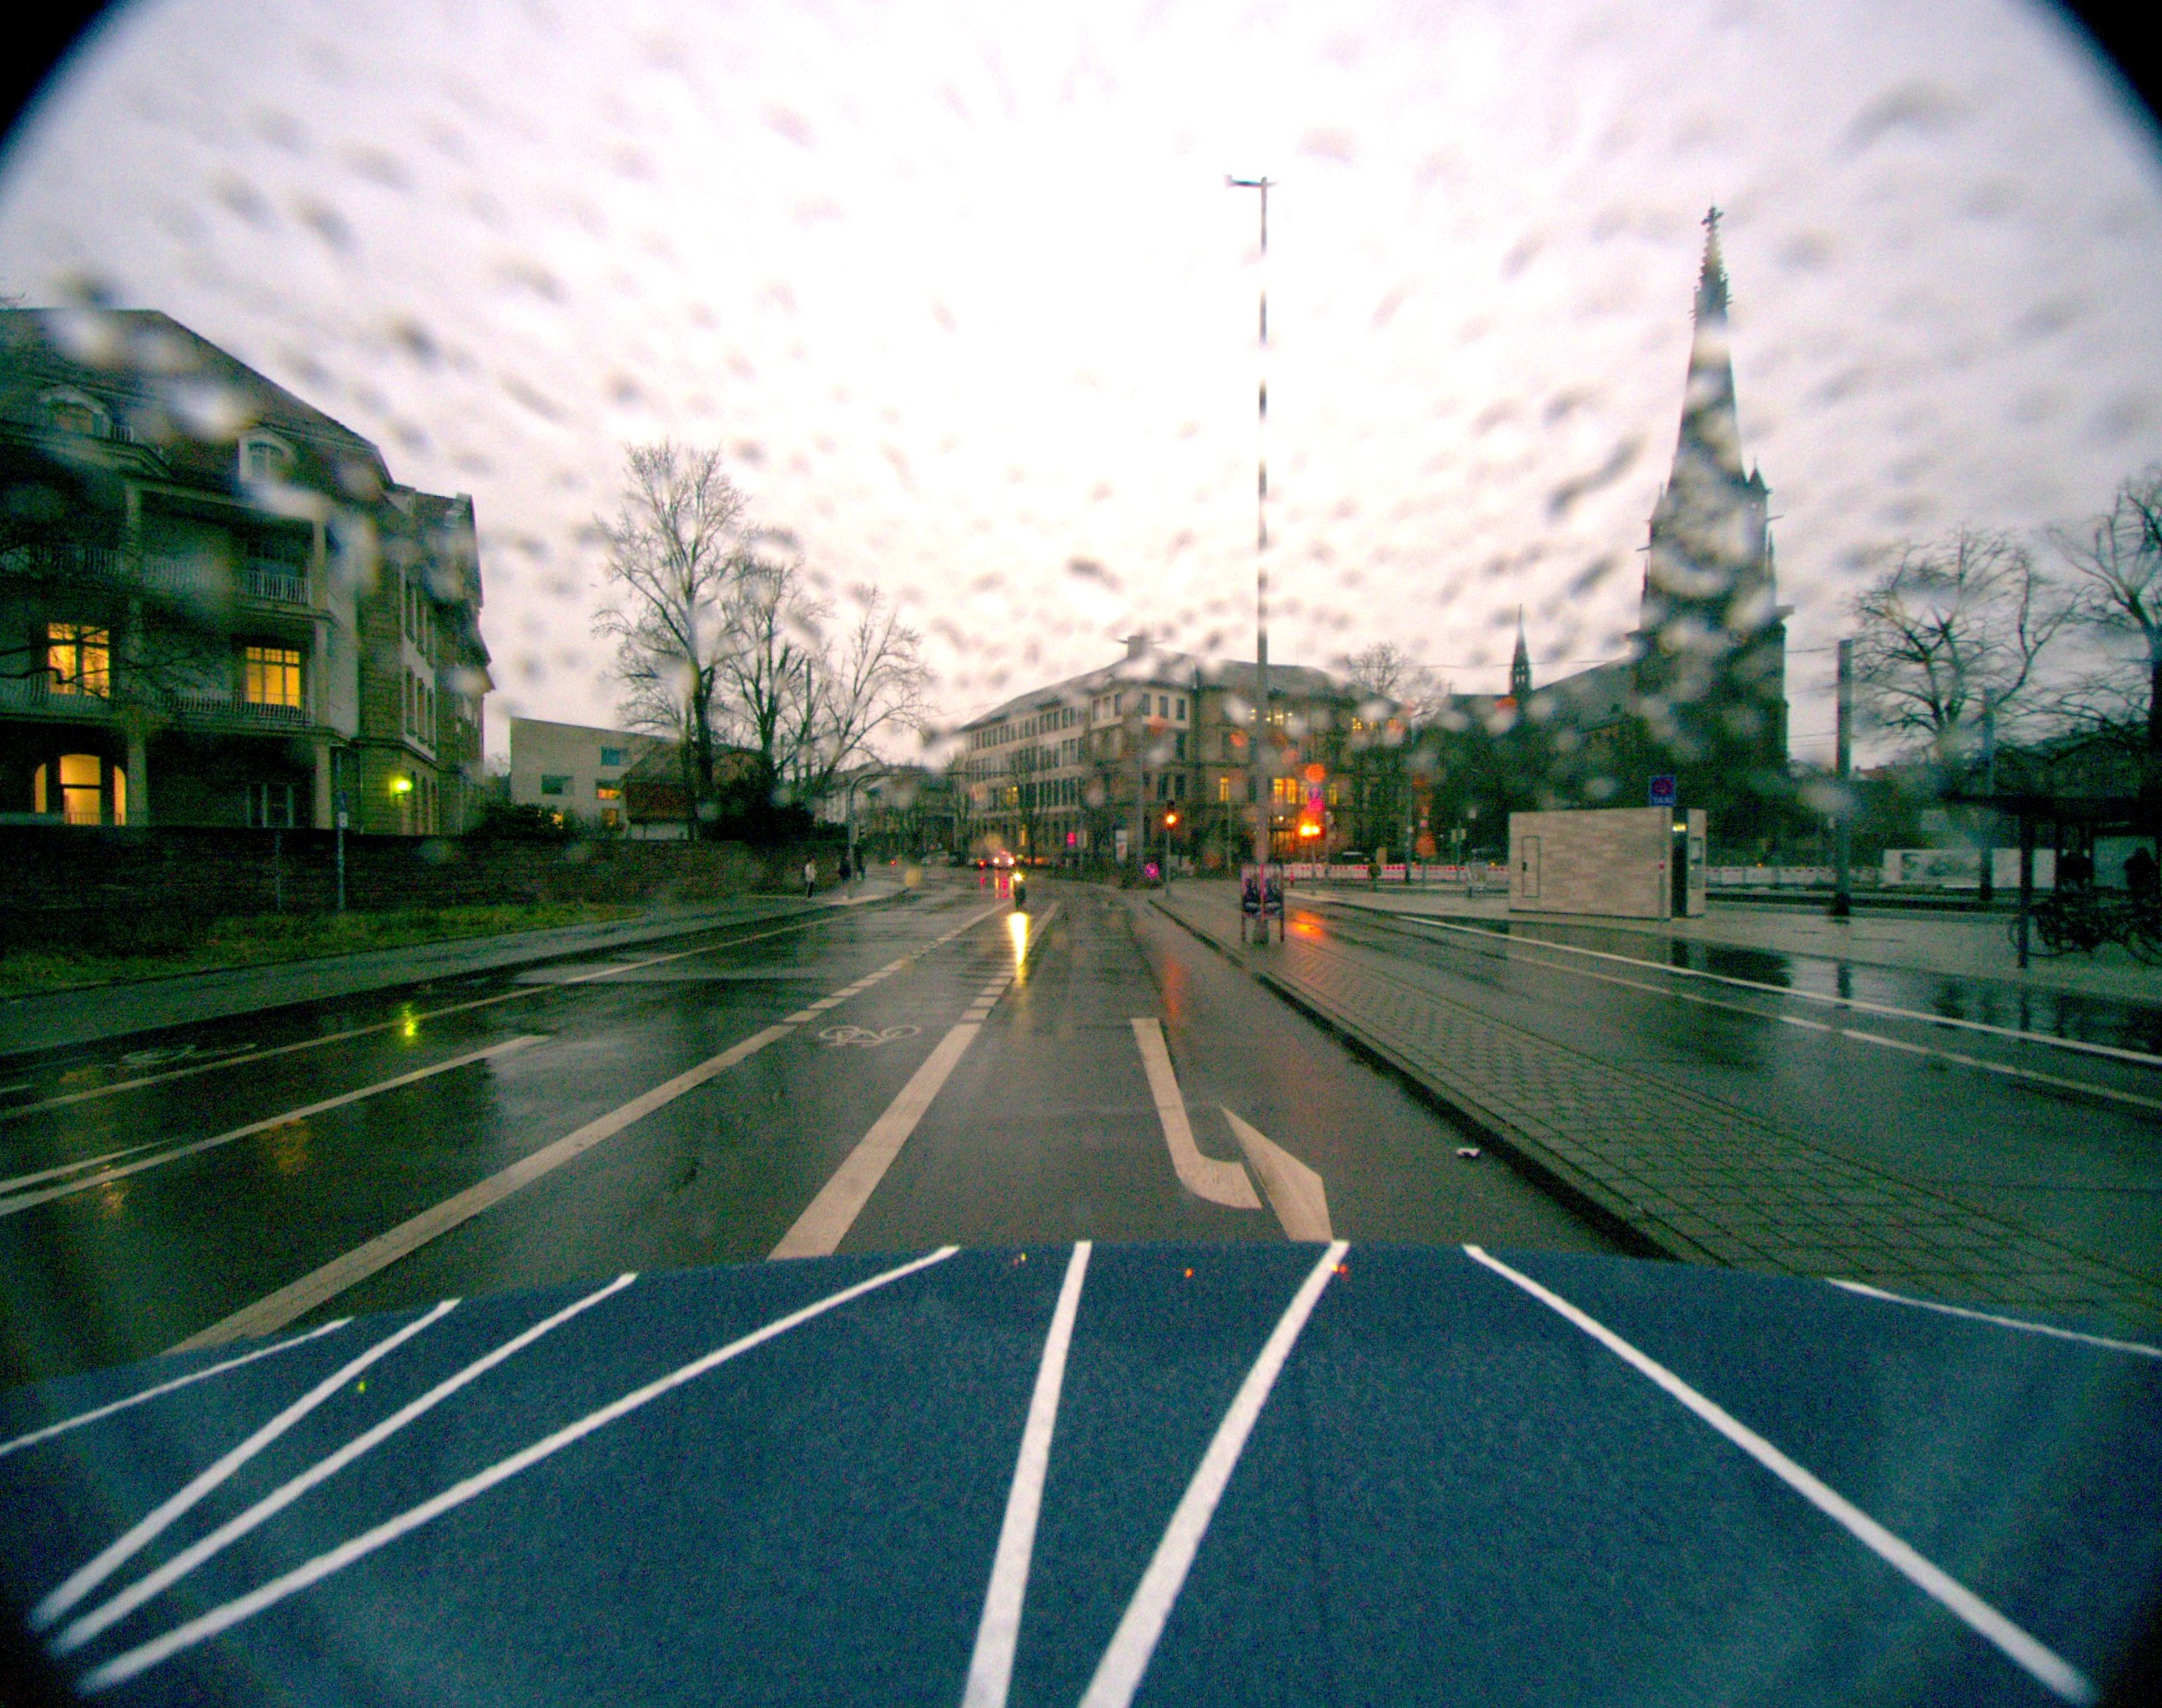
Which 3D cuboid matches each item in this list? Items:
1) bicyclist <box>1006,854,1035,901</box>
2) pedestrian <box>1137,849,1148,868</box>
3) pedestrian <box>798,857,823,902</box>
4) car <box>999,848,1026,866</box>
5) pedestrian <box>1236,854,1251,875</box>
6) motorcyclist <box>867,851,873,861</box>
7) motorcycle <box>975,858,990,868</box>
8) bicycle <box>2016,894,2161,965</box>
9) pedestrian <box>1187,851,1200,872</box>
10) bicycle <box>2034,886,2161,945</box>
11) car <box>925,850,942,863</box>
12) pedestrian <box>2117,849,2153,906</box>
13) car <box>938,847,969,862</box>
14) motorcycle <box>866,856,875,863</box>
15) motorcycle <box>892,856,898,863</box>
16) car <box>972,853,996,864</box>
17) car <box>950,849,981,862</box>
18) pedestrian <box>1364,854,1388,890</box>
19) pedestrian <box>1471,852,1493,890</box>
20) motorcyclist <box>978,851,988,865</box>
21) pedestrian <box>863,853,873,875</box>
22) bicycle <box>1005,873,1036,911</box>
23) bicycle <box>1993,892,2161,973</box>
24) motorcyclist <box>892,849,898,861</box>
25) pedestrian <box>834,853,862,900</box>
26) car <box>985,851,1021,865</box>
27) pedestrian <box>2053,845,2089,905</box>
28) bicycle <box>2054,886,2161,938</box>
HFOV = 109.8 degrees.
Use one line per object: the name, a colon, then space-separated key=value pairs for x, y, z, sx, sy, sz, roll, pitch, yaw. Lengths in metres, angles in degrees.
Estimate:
bicyclist: x=-1.945 y=0.759 z=24.614 sx=0.785 sy=1.444 sz=1.134 roll=-2 pitch=1 yaw=1
pedestrian: x=5.935 y=0.447 z=73.021 sx=0.675 sy=1.806 sz=0.896 roll=0 pitch=1 yaw=-28
pedestrian: x=-10.576 y=0.985 z=29.750 sx=0.799 sy=1.713 sz=0.673 roll=1 pitch=1 yaw=-10
car: x=-7.547 y=0.344 z=83.731 sx=1.881 sy=1.835 sz=4.003 roll=-2 pitch=1 yaw=11
pedestrian: x=13.581 y=0.886 z=63.639 sx=0.829 sy=1.714 sz=0.926 roll=0 pitch=0 yaw=-29
motorcyclist: x=-32.044 y=0.315 z=115.417 sx=0.661 sy=1.590 sz=0.836 roll=0 pitch=0 yaw=-34
motorcycle: x=-10.277 y=0.907 z=79.223 sx=0.714 sy=1.048 sz=2.162 roll=0 pitch=0 yaw=-34
bicycle: x=16.612 y=1.209 z=12.212 sx=0.475 sy=0.980 sz=1.921 roll=-2 pitch=2 yaw=-30
pedestrian: x=9.882 y=0.659 z=66.810 sx=0.675 sy=1.890 sz=0.971 roll=0 pitch=1 yaw=-27
bicycle: x=19.687 y=1.164 z=14.424 sx=0.475 sy=0.980 sz=1.921 roll=-2 pitch=2 yaw=-30
car: x=-20.736 y=0.363 z=106.844 sx=2.000 sy=1.660 sz=3.997 roll=-2 pitch=1 yaw=-7
pedestrian: x=31.044 y=0.686 z=22.382 sx=0.541 sy=1.642 sz=0.562 roll=-3 pitch=2 yaw=-41
car: x=-16.996 y=0.067 z=101.469 sx=2.043 sy=1.889 sz=4.007 roll=-2 pitch=1 yaw=28
motorcycle: x=-32.039 y=0.901 z=115.433 sx=0.661 sy=1.048 sz=2.162 roll=0 pitch=0 yaw=-34
motorcycle: x=-25.865 y=0.775 z=105.587 sx=0.726 sy=1.048 sz=2.164 roll=0 pitch=0 yaw=-15
car: x=-12.135 y=0.567 z=95.305 sx=1.706 sy=1.298 sz=3.647 roll=-2 pitch=1 yaw=16
car: x=-15.092 y=0.192 z=99.404 sx=1.797 sy=1.541 sz=4.007 roll=-2 pitch=1 yaw=28
pedestrian: x=14.257 y=0.874 z=36.693 sx=0.771 sy=1.651 sz=1.210 roll=-1 pitch=1 yaw=36
pedestrian: x=19.177 y=0.795 z=36.389 sx=0.825 sy=1.785 sz=0.671 roll=-2 pitch=1 yaw=22
motorcyclist: x=-10.245 y=0.404 z=79.179 sx=0.702 sy=1.375 sz=0.864 roll=0 pitch=0 yaw=-34
pedestrian: x=-15.472 y=0.727 z=55.168 sx=0.616 sy=1.644 sz=0.570 roll=0 pitch=0 yaw=-19
bicycle: x=-1.931 y=1.209 z=24.613 sx=0.785 sy=1.069 sz=1.957 roll=-2 pitch=1 yaw=1
bicycle: x=15.494 y=1.175 z=11.608 sx=0.475 sy=1.064 sz=1.921 roll=-2 pitch=2 yaw=-30
motorcyclist: x=-25.827 y=0.156 z=105.439 sx=0.711 sy=1.707 sz=0.740 roll=0 pitch=0 yaw=-15
pedestrian: x=-9.555 y=0.930 z=31.152 sx=1.000 sy=1.890 sz=0.673 roll=1 pitch=1 yaw=-8
car: x=-9.281 y=0.473 z=90.534 sx=1.797 sy=1.541 sz=4.007 roll=-1 pitch=1 yaw=45
pedestrian: x=30.231 y=0.637 z=23.211 sx=0.673 sy=1.785 sz=0.626 roll=-3 pitch=2 yaw=-41
bicycle: x=20.843 y=1.156 z=15.013 sx=0.475 sy=0.905 sz=1.921 roll=-2 pitch=2 yaw=-30
